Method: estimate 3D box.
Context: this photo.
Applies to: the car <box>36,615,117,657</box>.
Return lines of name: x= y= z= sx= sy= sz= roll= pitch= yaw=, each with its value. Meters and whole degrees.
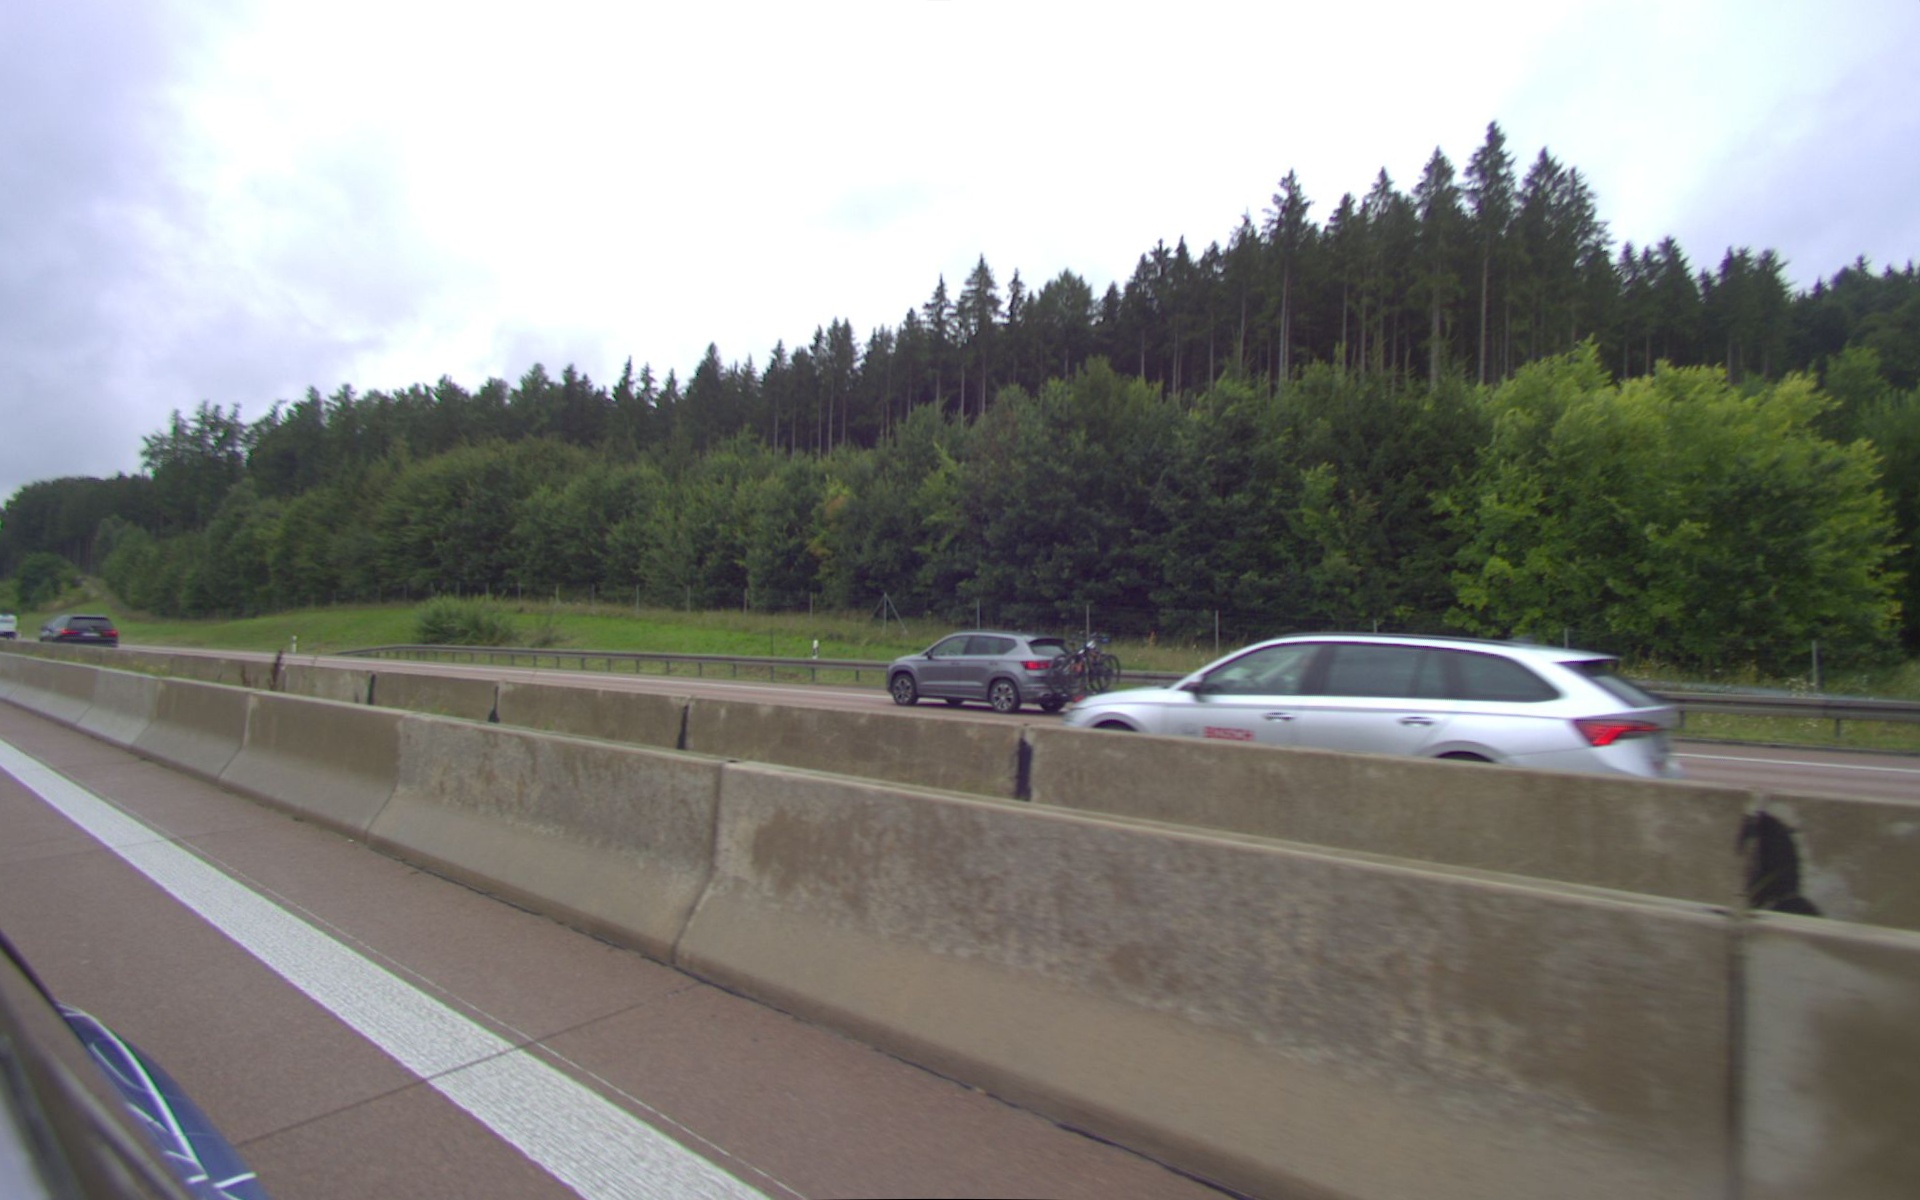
car: x=-35.983 y=1.437 z=41.163 sx=4.805 sy=1.563 sz=1.846 roll=-2 pitch=-1 yaw=41

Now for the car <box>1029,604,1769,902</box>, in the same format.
car: x=3.092 y=0.840 z=7.875 sx=4.944 sy=1.572 sz=1.973 roll=0 pitch=0 yaw=41

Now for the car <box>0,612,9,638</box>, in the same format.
car: x=-102.800 y=2.619 z=107.313 sx=6.251 sy=2.604 sz=2.201 roll=0 pitch=1 yaw=41

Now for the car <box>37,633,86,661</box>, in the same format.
car: x=-56.887 y=2.947 z=64.081 sx=4.313 sy=1.594 sz=1.698 roll=0 pitch=-1 yaw=40

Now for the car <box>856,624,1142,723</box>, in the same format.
car: x=0.619 y=1.340 z=20.241 sx=5.740 sy=1.572 sz=1.973 roll=0 pitch=1 yaw=40
